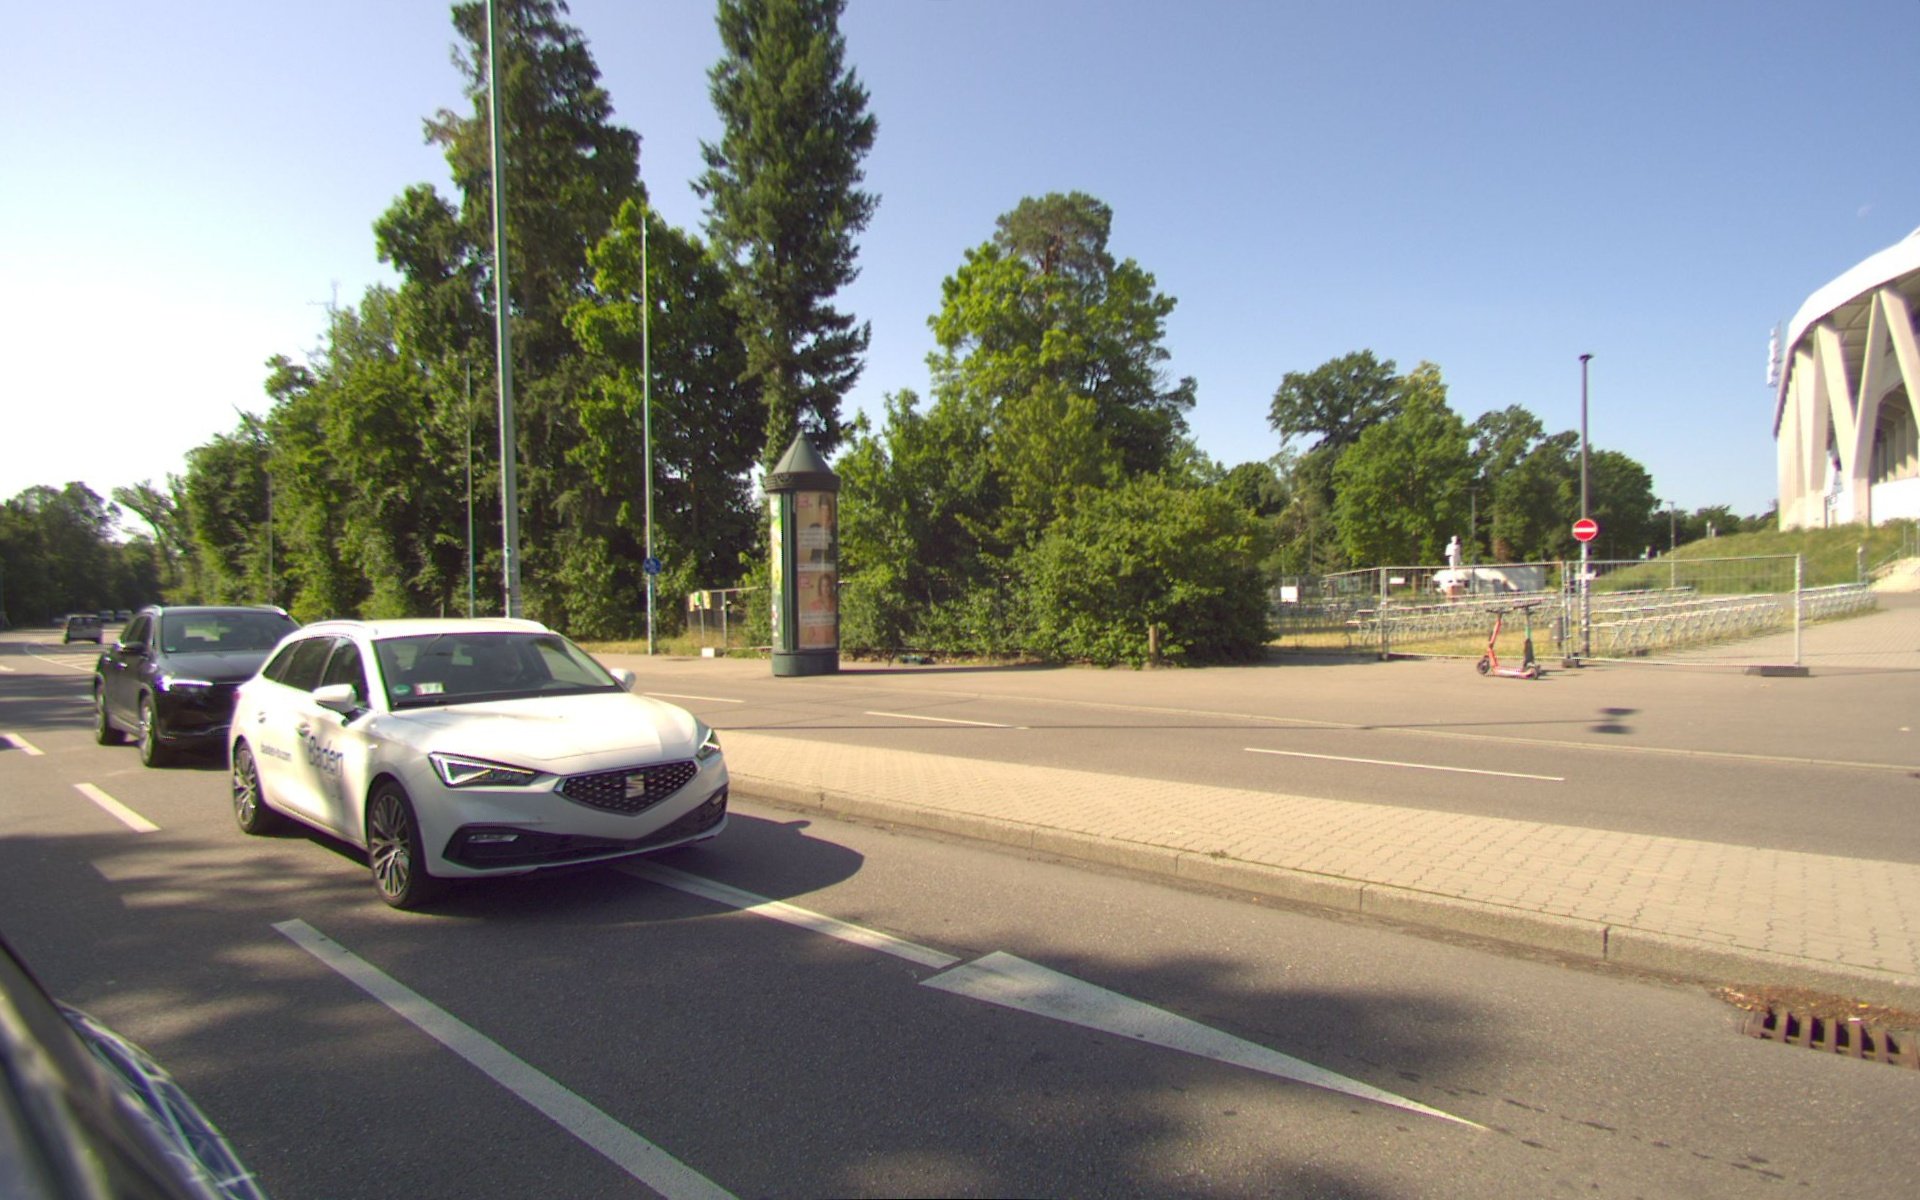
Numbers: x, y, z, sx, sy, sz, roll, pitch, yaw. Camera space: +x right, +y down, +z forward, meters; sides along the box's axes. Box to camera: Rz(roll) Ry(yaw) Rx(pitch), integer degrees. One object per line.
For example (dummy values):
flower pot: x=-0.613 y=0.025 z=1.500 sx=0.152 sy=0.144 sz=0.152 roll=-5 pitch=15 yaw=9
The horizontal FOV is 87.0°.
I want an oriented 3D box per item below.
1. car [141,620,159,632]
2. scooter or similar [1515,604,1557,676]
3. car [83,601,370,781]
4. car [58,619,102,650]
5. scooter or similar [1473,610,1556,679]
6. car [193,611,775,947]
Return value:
car: x=-113.429 y=3.607 z=141.737 sx=1.828 sy=1.630 sz=4.008 roll=-1 pitch=0 yaw=-38
scooter or similar: x=10.321 y=0.702 z=18.161 sx=0.392 sy=1.231 sz=1.076 roll=-1 pitch=0 yaw=16
car: x=-8.268 y=0.883 z=11.247 sx=4.273 sy=1.608 sz=1.785 roll=-2 pitch=-1 yaw=43
car: x=-57.470 y=2.225 z=66.091 sx=4.002 sy=1.874 sz=1.851 roll=-1 pitch=0 yaw=45
scooter or similar: x=9.654 y=0.769 z=17.644 sx=0.390 sy=1.154 sz=1.197 roll=-1 pitch=0 yaw=-44
car: x=-3.354 y=0.821 z=6.568 sx=4.718 sy=1.437 sz=1.707 roll=-1 pitch=-1 yaw=42
